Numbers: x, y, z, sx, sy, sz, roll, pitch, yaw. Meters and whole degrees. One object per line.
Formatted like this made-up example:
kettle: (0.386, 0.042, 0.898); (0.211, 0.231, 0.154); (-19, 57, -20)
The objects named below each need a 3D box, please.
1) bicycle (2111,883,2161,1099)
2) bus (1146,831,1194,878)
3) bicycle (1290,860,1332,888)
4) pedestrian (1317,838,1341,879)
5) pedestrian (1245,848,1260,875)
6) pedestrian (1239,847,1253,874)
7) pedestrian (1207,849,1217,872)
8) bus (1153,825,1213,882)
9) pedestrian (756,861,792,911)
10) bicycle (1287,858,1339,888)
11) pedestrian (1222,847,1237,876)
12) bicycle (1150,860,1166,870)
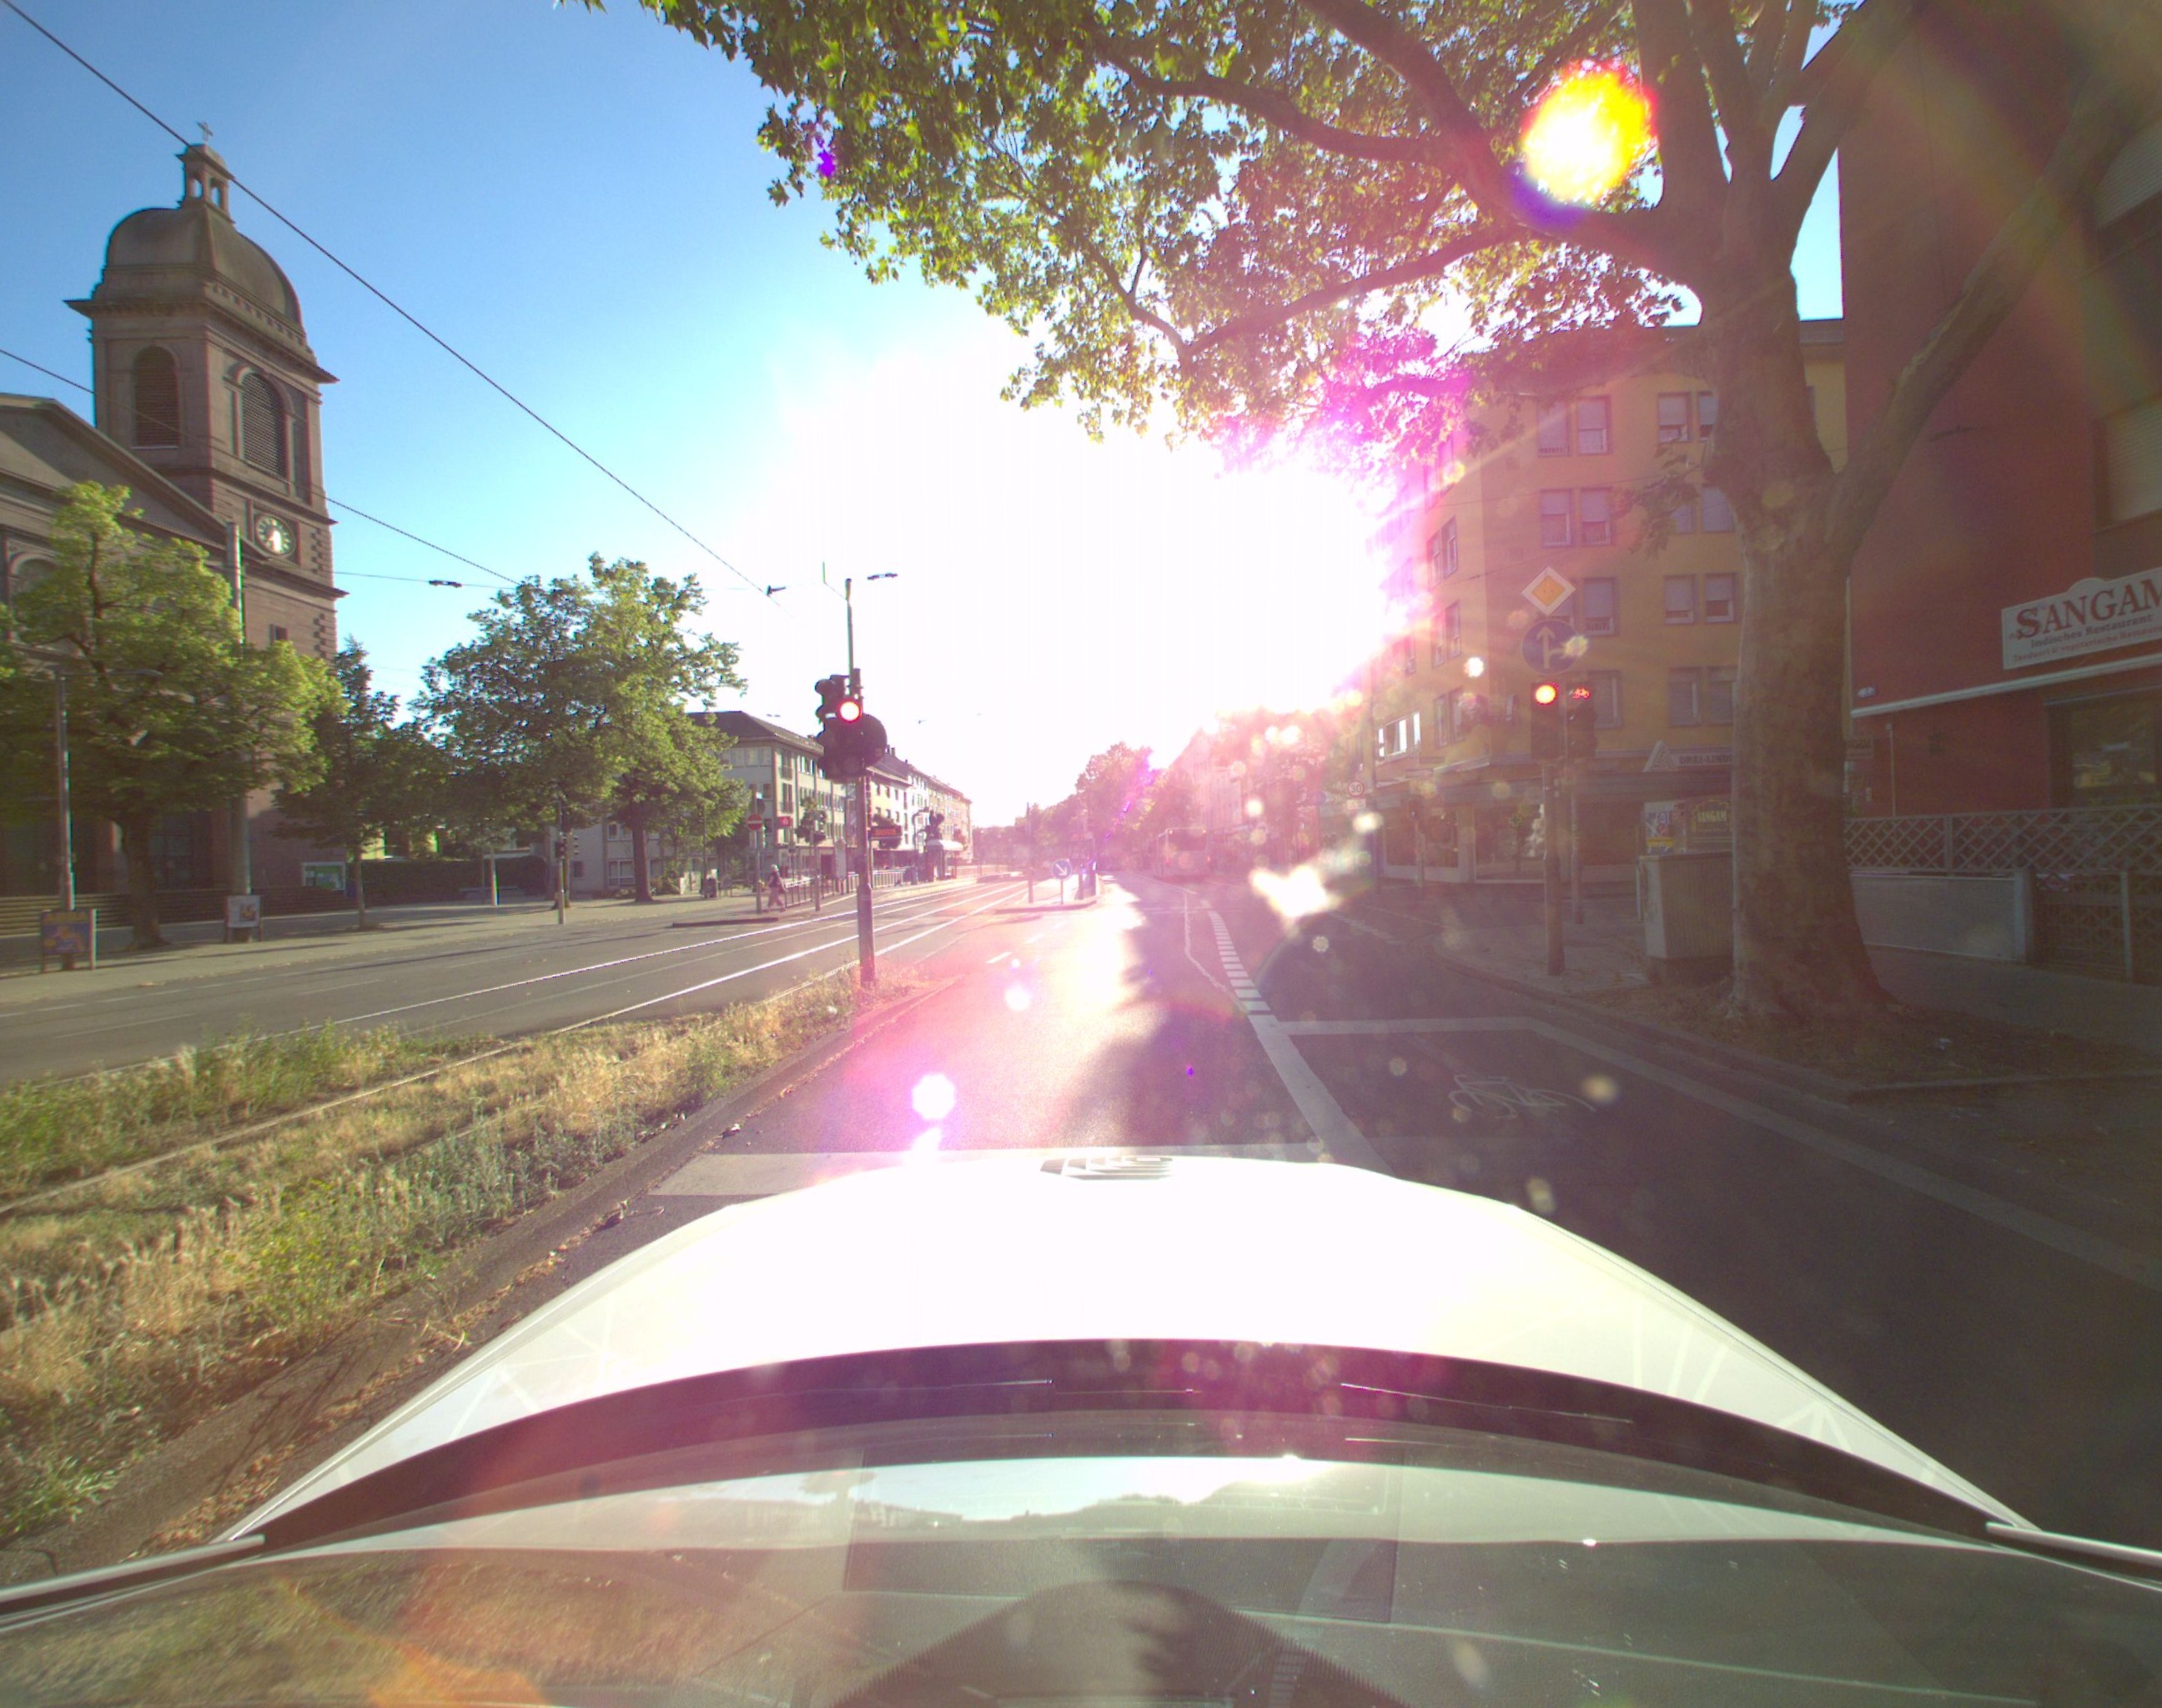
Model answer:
bicycle: (5.665, 0.754, 3.640); (0.613, 1.111, 1.812); (-3, 1, 28)
bus: (6.384, 0.065, 59.354); (2.686, 3.118, 9.073); (-1, 0, 2)
bicycle: (8.966, 0.785, 31.785); (1.479, 1.008, 0.454); (-2, 0, -2)
pedestrian: (11.140, 0.206, 36.645); (0.741, 1.780, 0.895); (-2, -1, 1)
pedestrian: (10.858, 0.475, 51.588); (0.721, 1.723, 0.766); (-2, -1, 1)
pedestrian: (10.980, 0.416, 54.199); (0.721, 1.779, 0.766); (-2, -1, 1)
pedestrian: (8.949, 0.447, 55.809); (0.607, 1.578, 0.853); (-2, 0, 8)
bus: (6.117, 0.006, 50.198); (2.686, 3.118, 9.384); (-1, 0, 2)
pedestrian: (-11.044, 1.144, 29.317); (0.915, 1.760, 0.833); (-2, -1, 2)
bicycle: (8.876, 0.708, 31.149); (1.793, 1.008, 0.540); (-4, -1, -3)
pedestrian: (9.349, 0.461, 51.324); (0.721, 1.807, 0.766); (-2, -1, 1)
bicycle: (9.541, 1.376, 100.902); (1.879, 1.077, 0.755); (-6, -1, 4)
